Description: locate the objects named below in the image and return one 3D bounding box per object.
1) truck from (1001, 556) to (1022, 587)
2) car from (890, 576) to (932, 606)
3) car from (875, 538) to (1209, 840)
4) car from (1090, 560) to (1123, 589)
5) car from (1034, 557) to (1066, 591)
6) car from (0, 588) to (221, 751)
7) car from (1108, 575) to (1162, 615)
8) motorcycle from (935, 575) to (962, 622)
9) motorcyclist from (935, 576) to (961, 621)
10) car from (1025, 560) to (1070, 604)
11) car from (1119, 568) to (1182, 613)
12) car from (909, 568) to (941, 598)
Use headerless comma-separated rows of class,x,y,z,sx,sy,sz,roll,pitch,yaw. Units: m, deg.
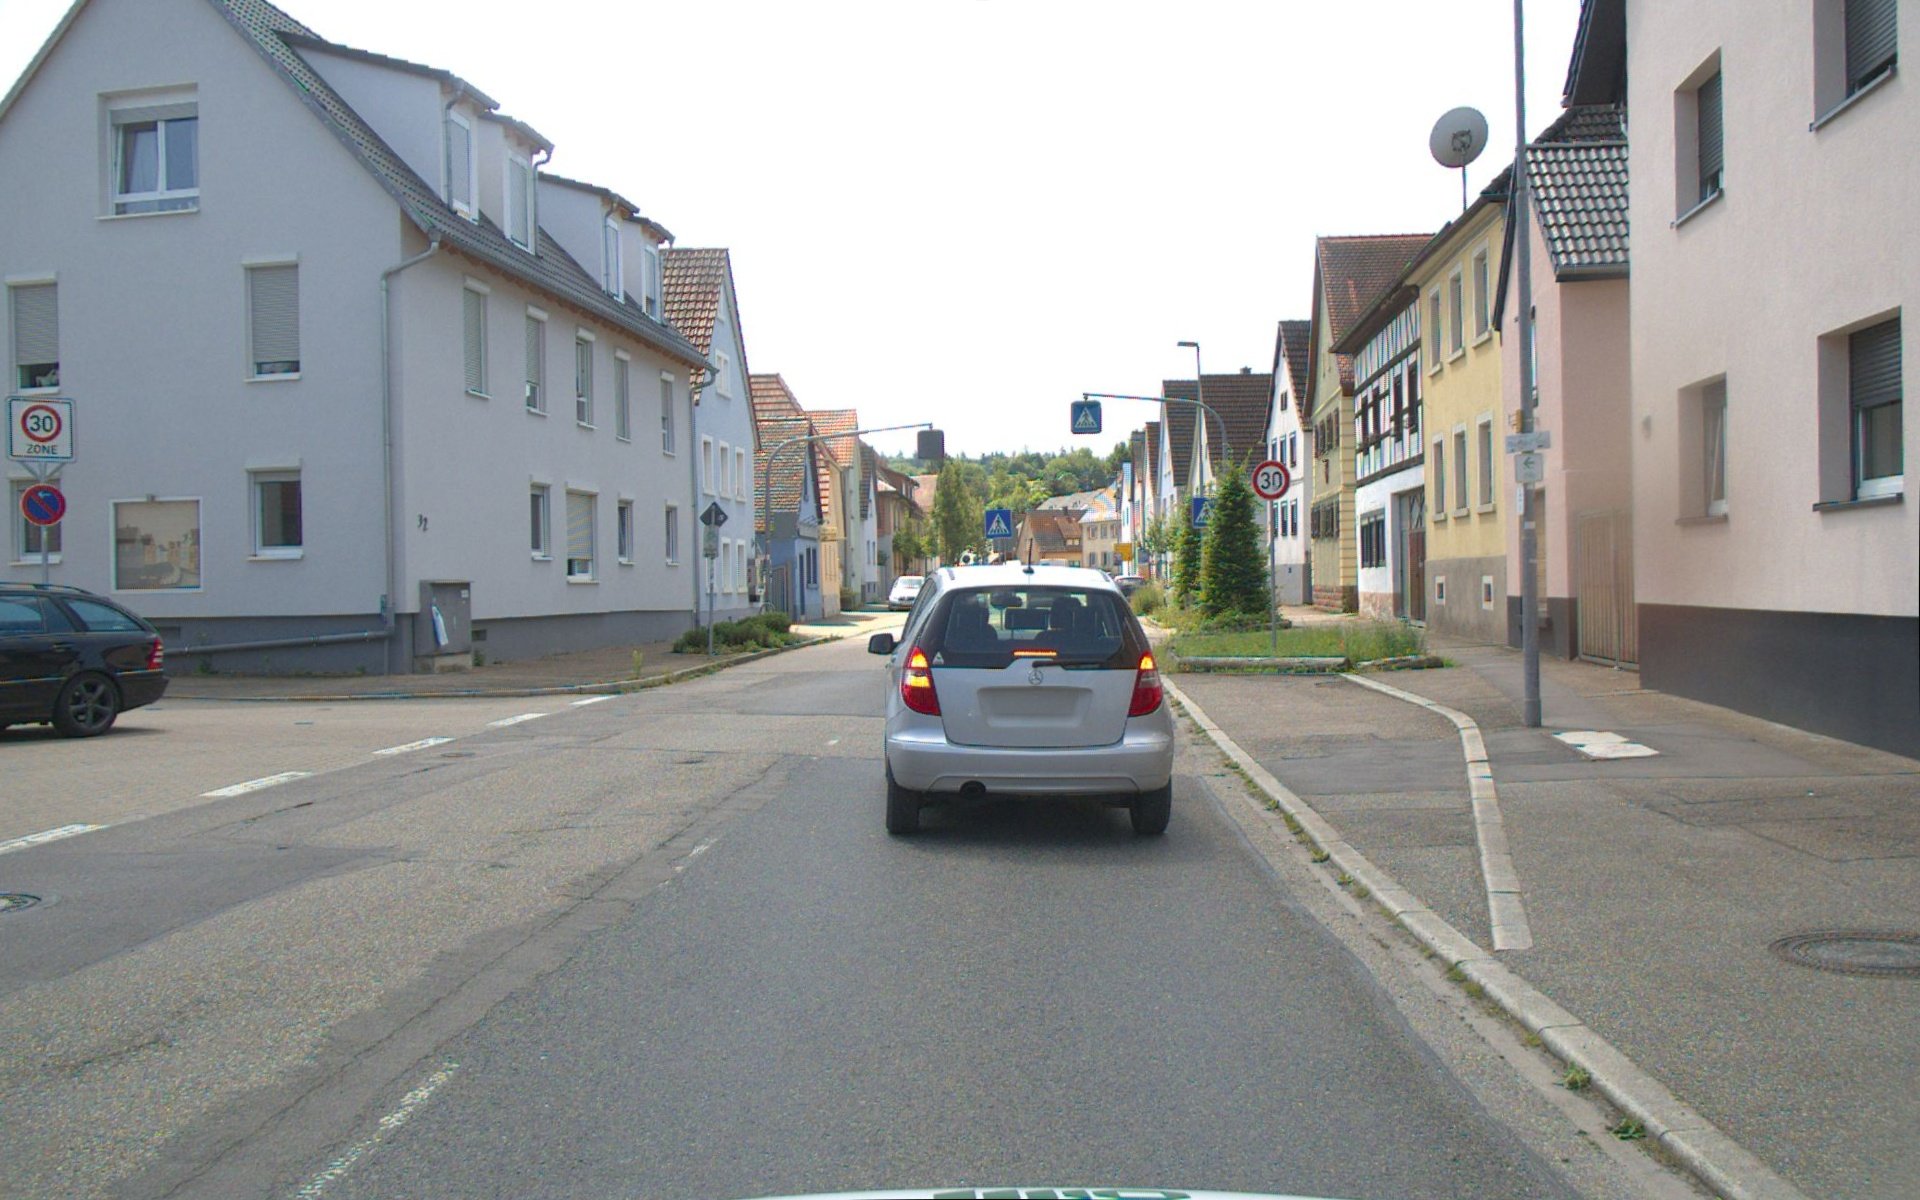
truck,4.820,-2.631,154.260,1.952,2.581,6.740,0,-1,2
car,-2.330,-0.411,77.854,1.954,1.344,3.706,0,-1,-3
car,0.375,0.498,11.156,1.775,1.672,3.726,1,0,-4
car,9.749,-1.680,110.306,1.952,1.848,4.000,0,-1,1
car,5.697,-1.615,104.856,1.952,2.049,4.001,0,-1,2
car,-9.309,0.622,14.921,1.776,1.436,4.623,-1,-1,33
car,7.035,-0.177,66.805,1.952,1.534,4.001,0,-1,2
motorcycle,-0.402,-0.075,57.877,0.862,1.588,1.968,0,1,2
motorcyclist,-0.414,-0.054,57.798,0.878,1.582,0.807,0,1,2
car,3.915,-0.780,74.631,1.952,1.848,4.000,0,-1,1
car,6.852,-0.305,59.821,1.952,1.534,4.001,0,-1,2
car,-2.014,-0.957,96.025,1.632,1.624,4.001,0,-1,3
